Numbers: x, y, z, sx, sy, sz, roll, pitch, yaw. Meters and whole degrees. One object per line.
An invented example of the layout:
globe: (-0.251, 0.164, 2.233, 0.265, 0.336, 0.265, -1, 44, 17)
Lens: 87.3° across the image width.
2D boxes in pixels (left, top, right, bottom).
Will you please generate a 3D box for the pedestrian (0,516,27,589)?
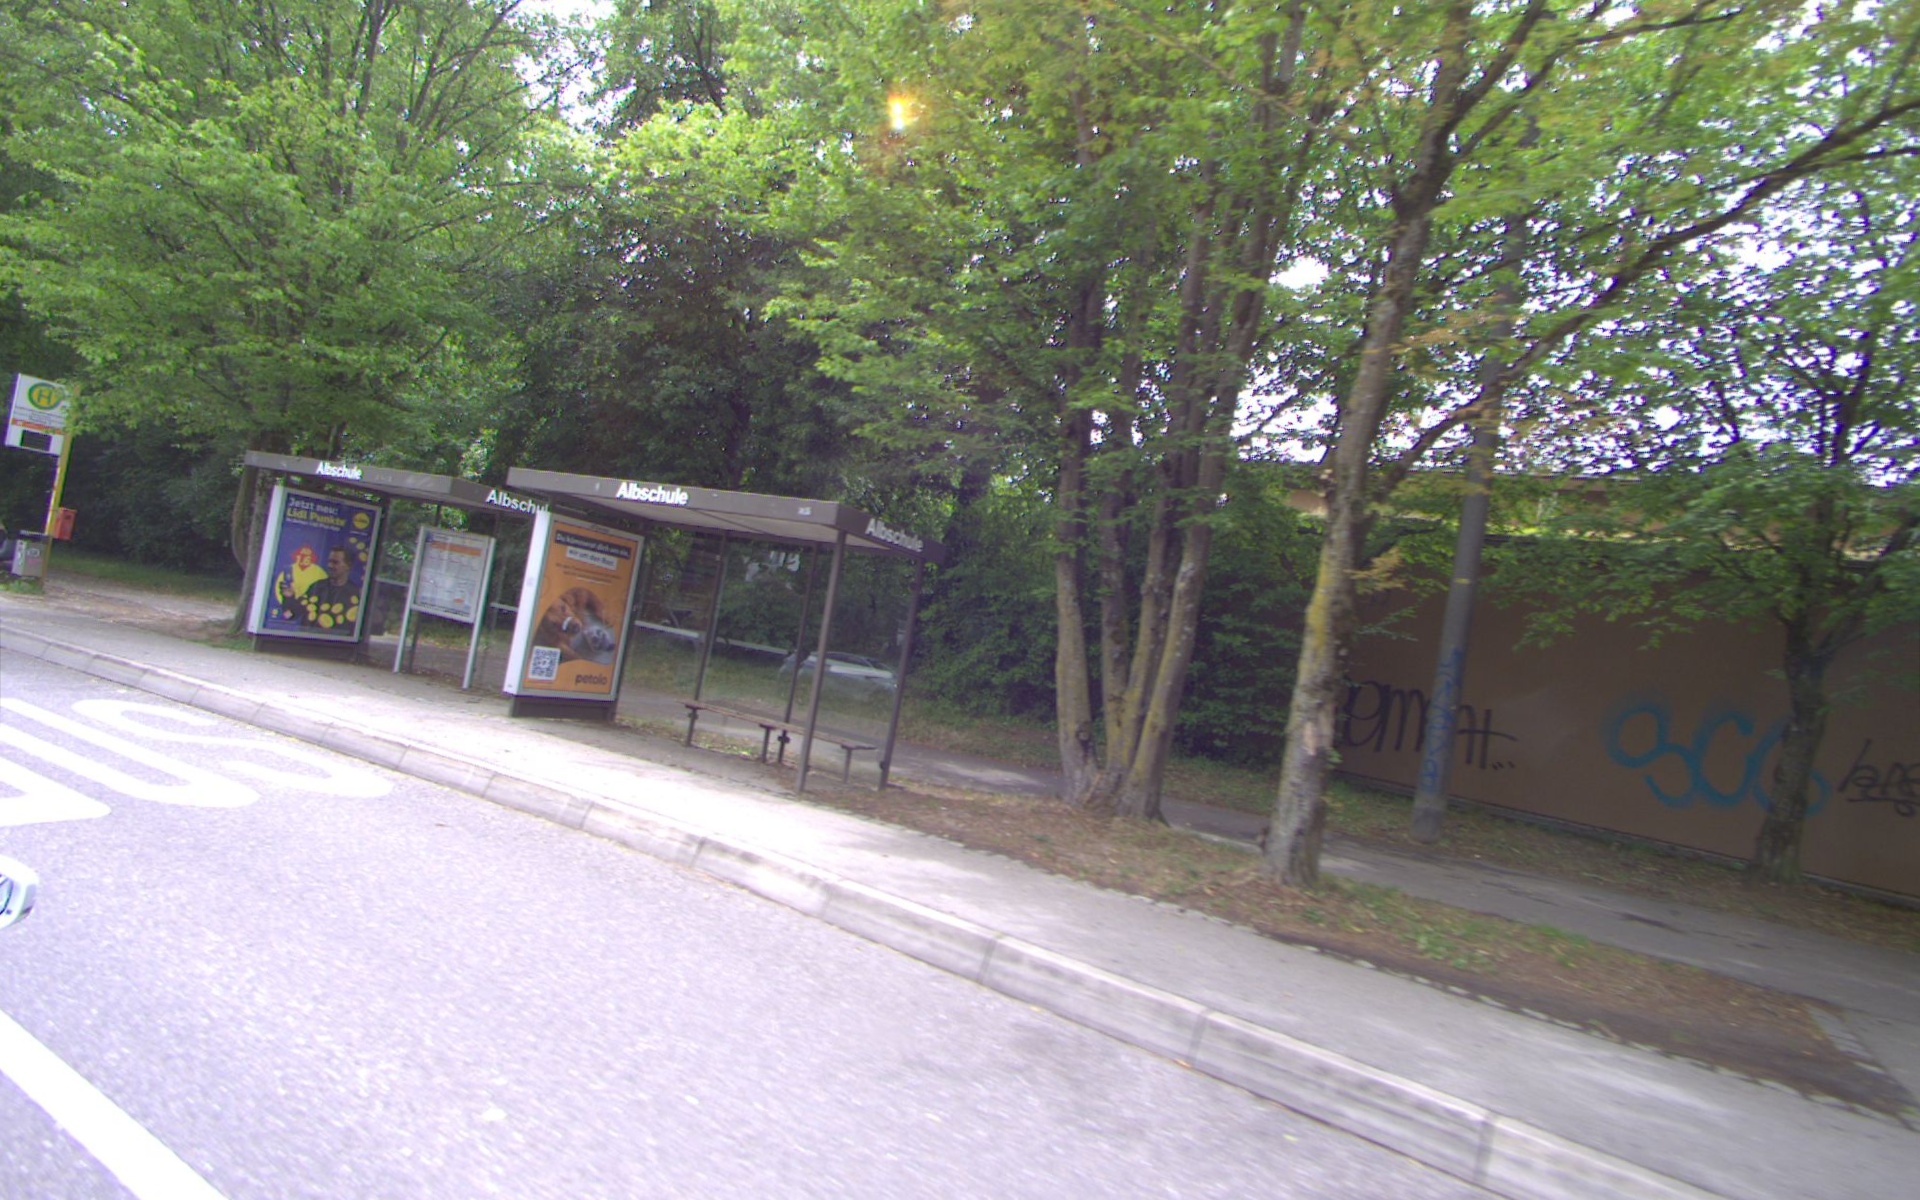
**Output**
pedestrian: (-16.650, -0.863, 16.981, 0.569, 1.196, 1.067, 7, -1, 24)
